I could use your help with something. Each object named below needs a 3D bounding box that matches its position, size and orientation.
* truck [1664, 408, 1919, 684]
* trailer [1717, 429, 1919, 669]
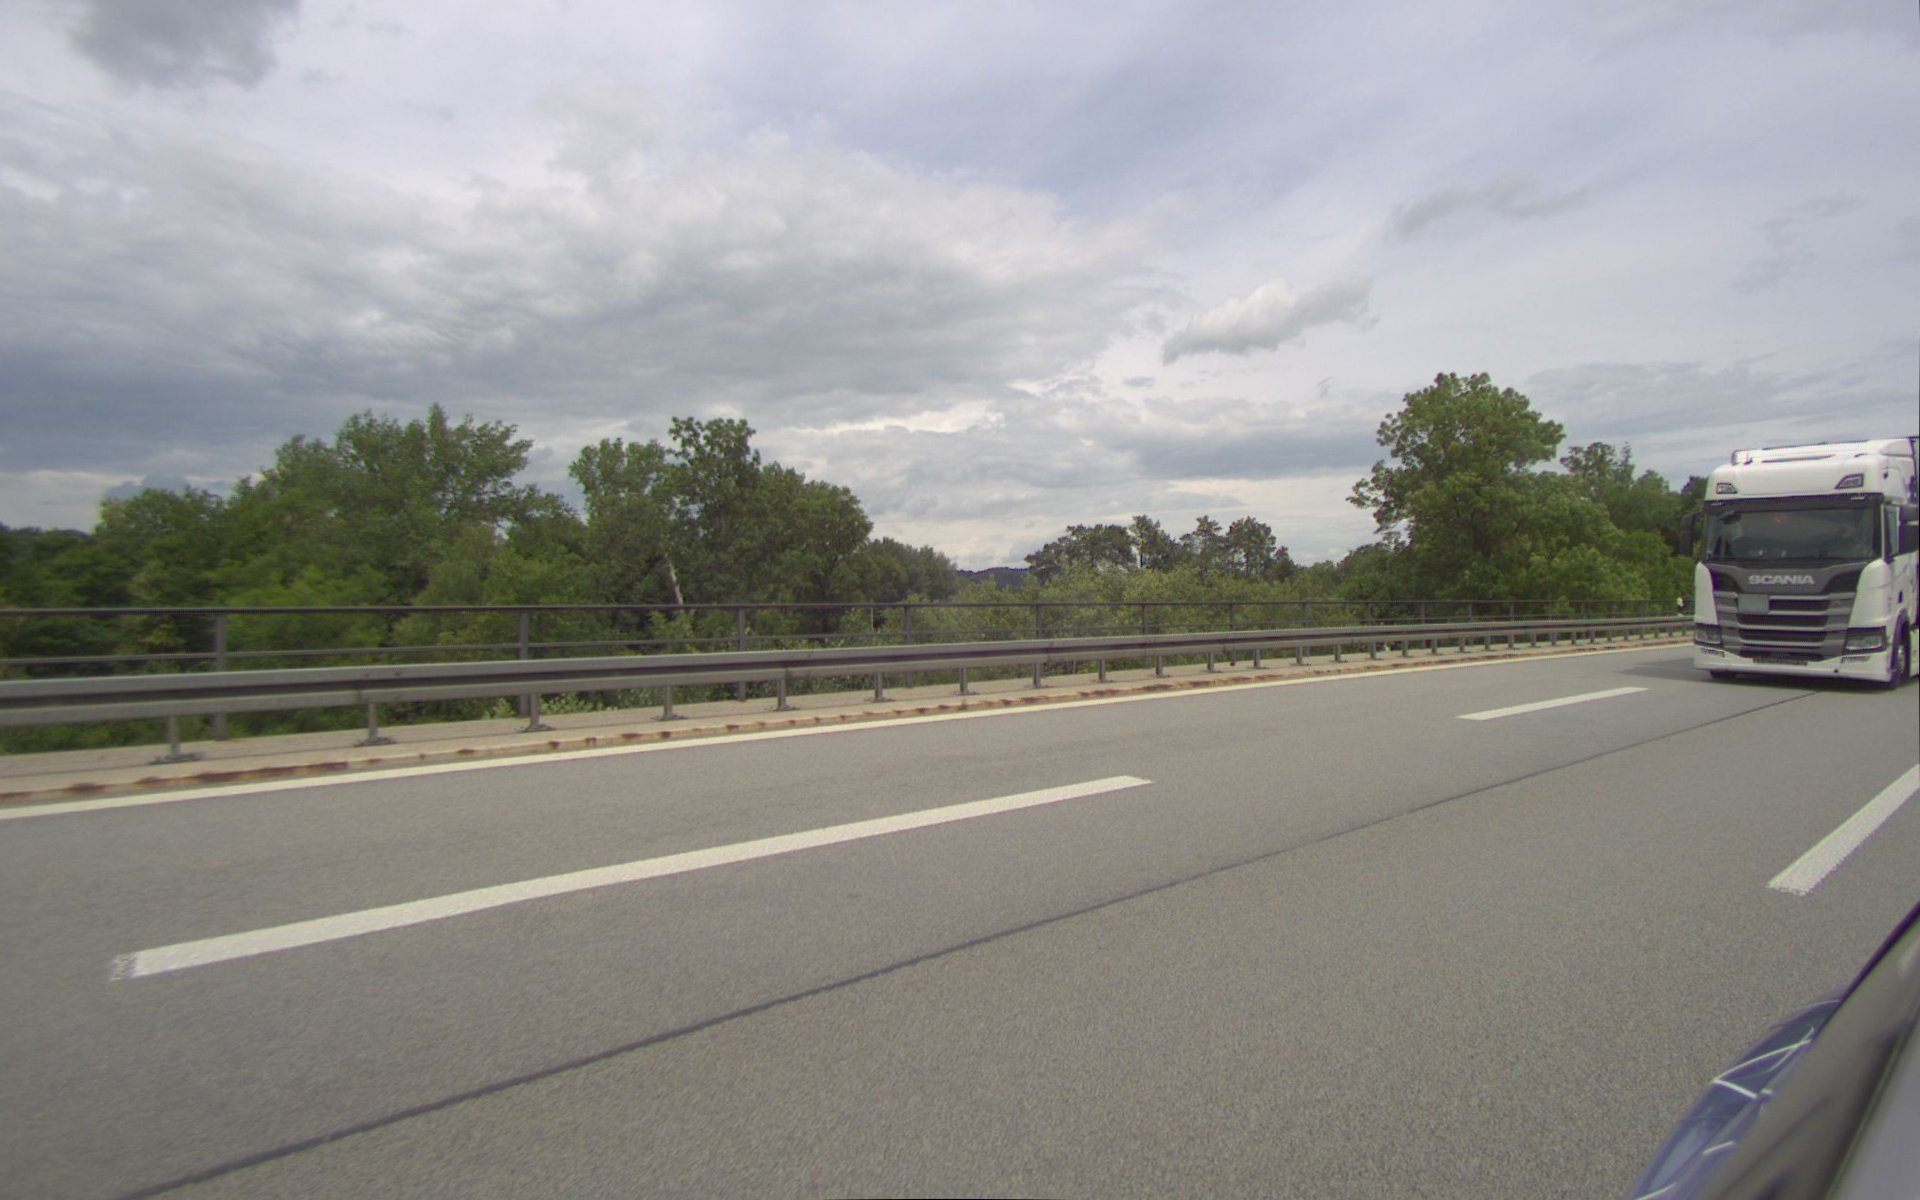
[{"bbox_3d":[14.982,-0.792,17.539,5.892,3.941,3.069,0,0,-39],"label":"truck"},{"bbox_3d":[20.244,-0.855,21.878,13.542,3.940,3.069,0,0,-39],"label":"trailer"}]
